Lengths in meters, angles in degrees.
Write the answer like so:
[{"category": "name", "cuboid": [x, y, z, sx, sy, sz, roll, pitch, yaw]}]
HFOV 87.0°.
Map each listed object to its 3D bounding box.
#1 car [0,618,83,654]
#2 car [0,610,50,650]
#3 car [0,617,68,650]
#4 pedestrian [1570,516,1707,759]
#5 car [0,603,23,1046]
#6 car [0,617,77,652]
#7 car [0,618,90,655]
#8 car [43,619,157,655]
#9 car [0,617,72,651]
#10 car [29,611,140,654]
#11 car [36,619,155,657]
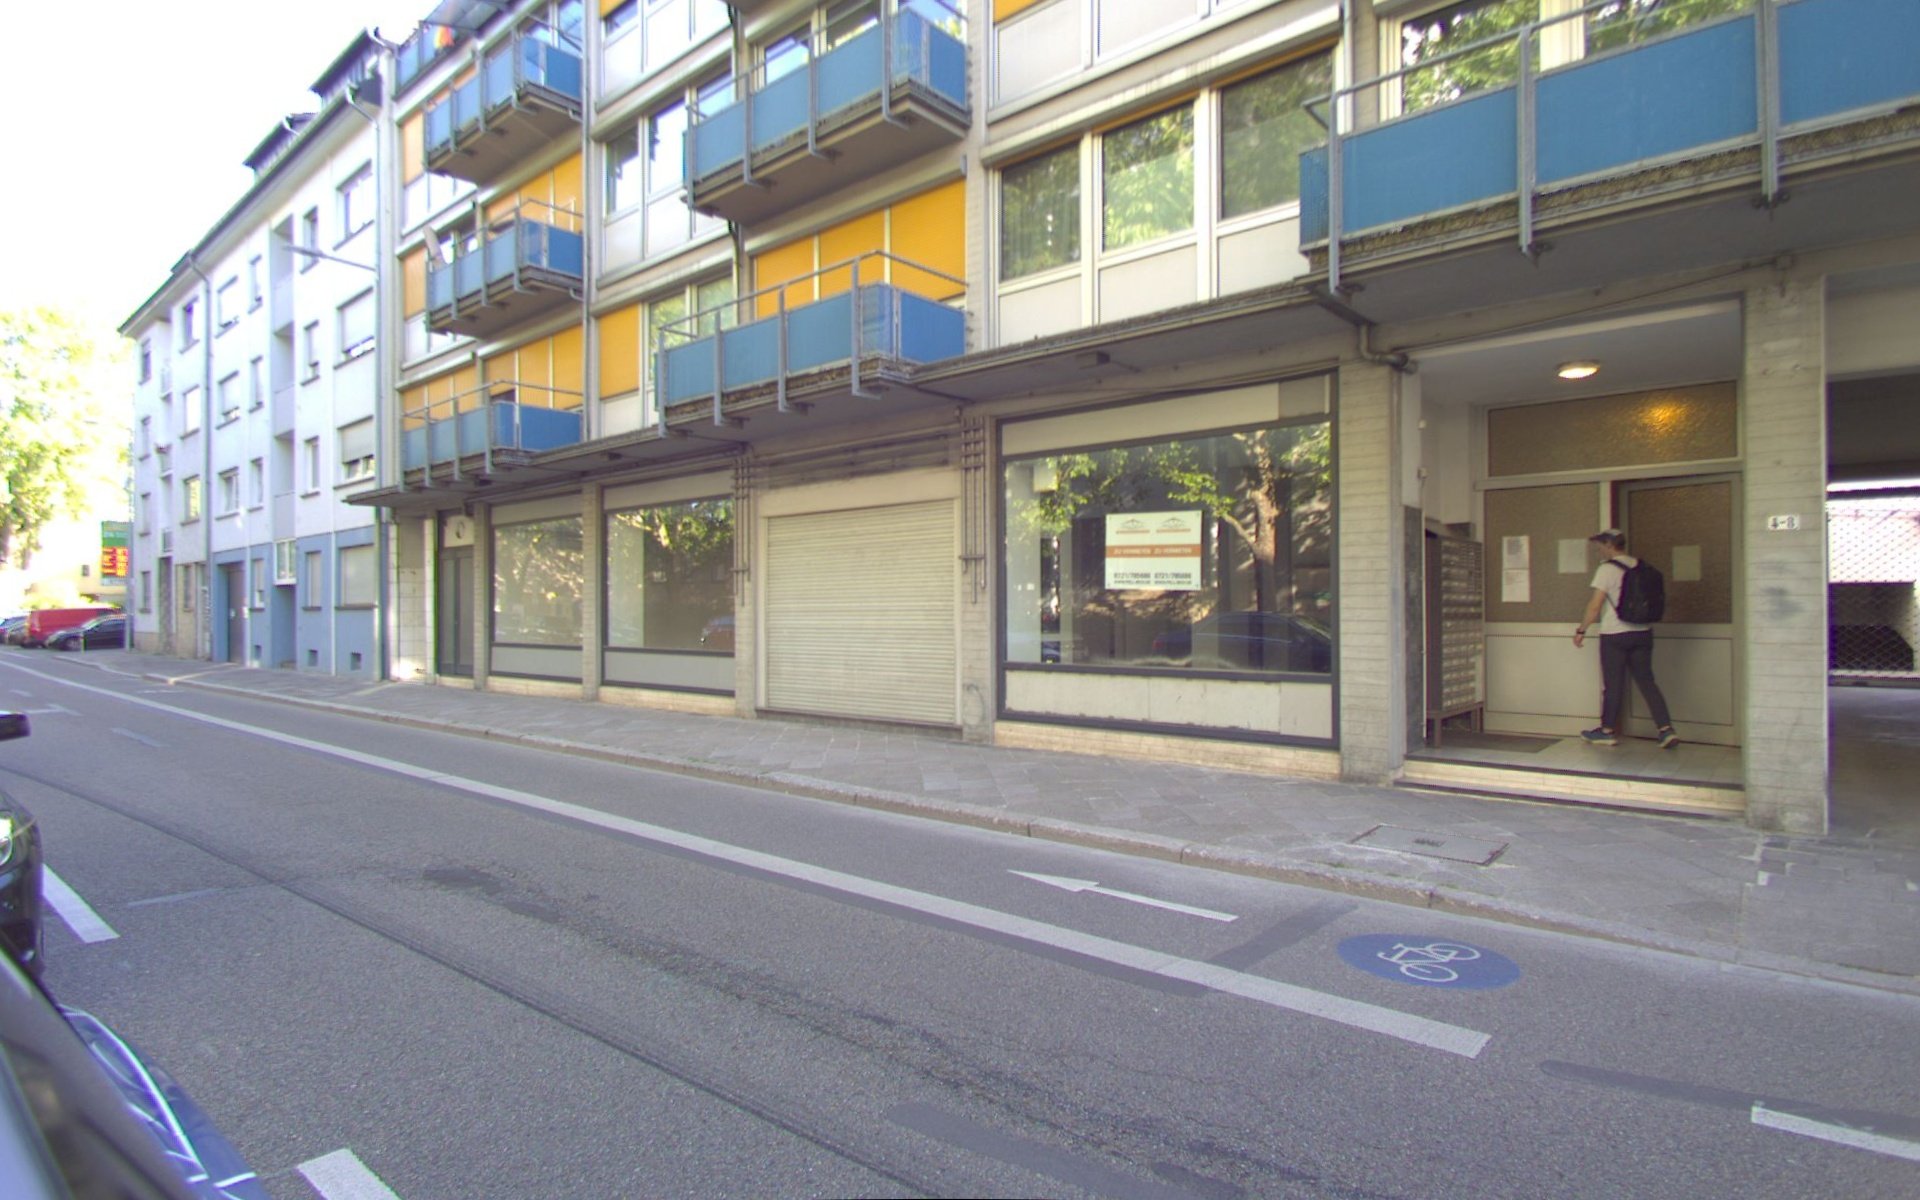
[{"category": "car", "cuboid": [-53.529, 2.040, 58.623, 2.000, 1.962, 3.944, -1, 0, 42]}, {"category": "car", "cuboid": [-62.807, 1.962, 66.796, 2.000, 2.538, 3.944, -1, 0, 42]}, {"category": "car", "cuboid": [-59.216, 2.114, 64.027, 2.000, 1.962, 3.944, -1, 0, 42]}, {"category": "pedestrian", "cuboid": [5.609, 0.292, 8.378, 0.572, 1.894, 0.788, -1, 0, -39]}, {"category": "car", "cuboid": [-5.533, 0.808, 4.289, 4.479, 1.512, 1.842, -1, -1, 41]}, {"category": "car", "cuboid": [-55.610, 2.067, 60.576, 2.000, 1.962, 3.944, -1, 0, 42]}, {"category": "car", "cuboid": [-51.579, 2.015, 56.841, 2.000, 1.962, 3.944, -1, 0, 42]}, {"category": "car", "cuboid": [-41.184, 1.747, 48.538, 2.000, 1.564, 3.944, -1, 0, 42]}, {"category": "car", "cuboid": [-57.416, 2.091, 62.294, 2.000, 1.962, 3.944, -1, 0, 42]}, {"category": "car", "cuboid": [-43.439, 1.577, 50.263, 2.000, 1.962, 3.944, -1, 0, 42]}, {"category": "car", "cuboid": [-39.766, 1.728, 46.616, 2.000, 1.564, 3.944, -1, 0, 42]}]
